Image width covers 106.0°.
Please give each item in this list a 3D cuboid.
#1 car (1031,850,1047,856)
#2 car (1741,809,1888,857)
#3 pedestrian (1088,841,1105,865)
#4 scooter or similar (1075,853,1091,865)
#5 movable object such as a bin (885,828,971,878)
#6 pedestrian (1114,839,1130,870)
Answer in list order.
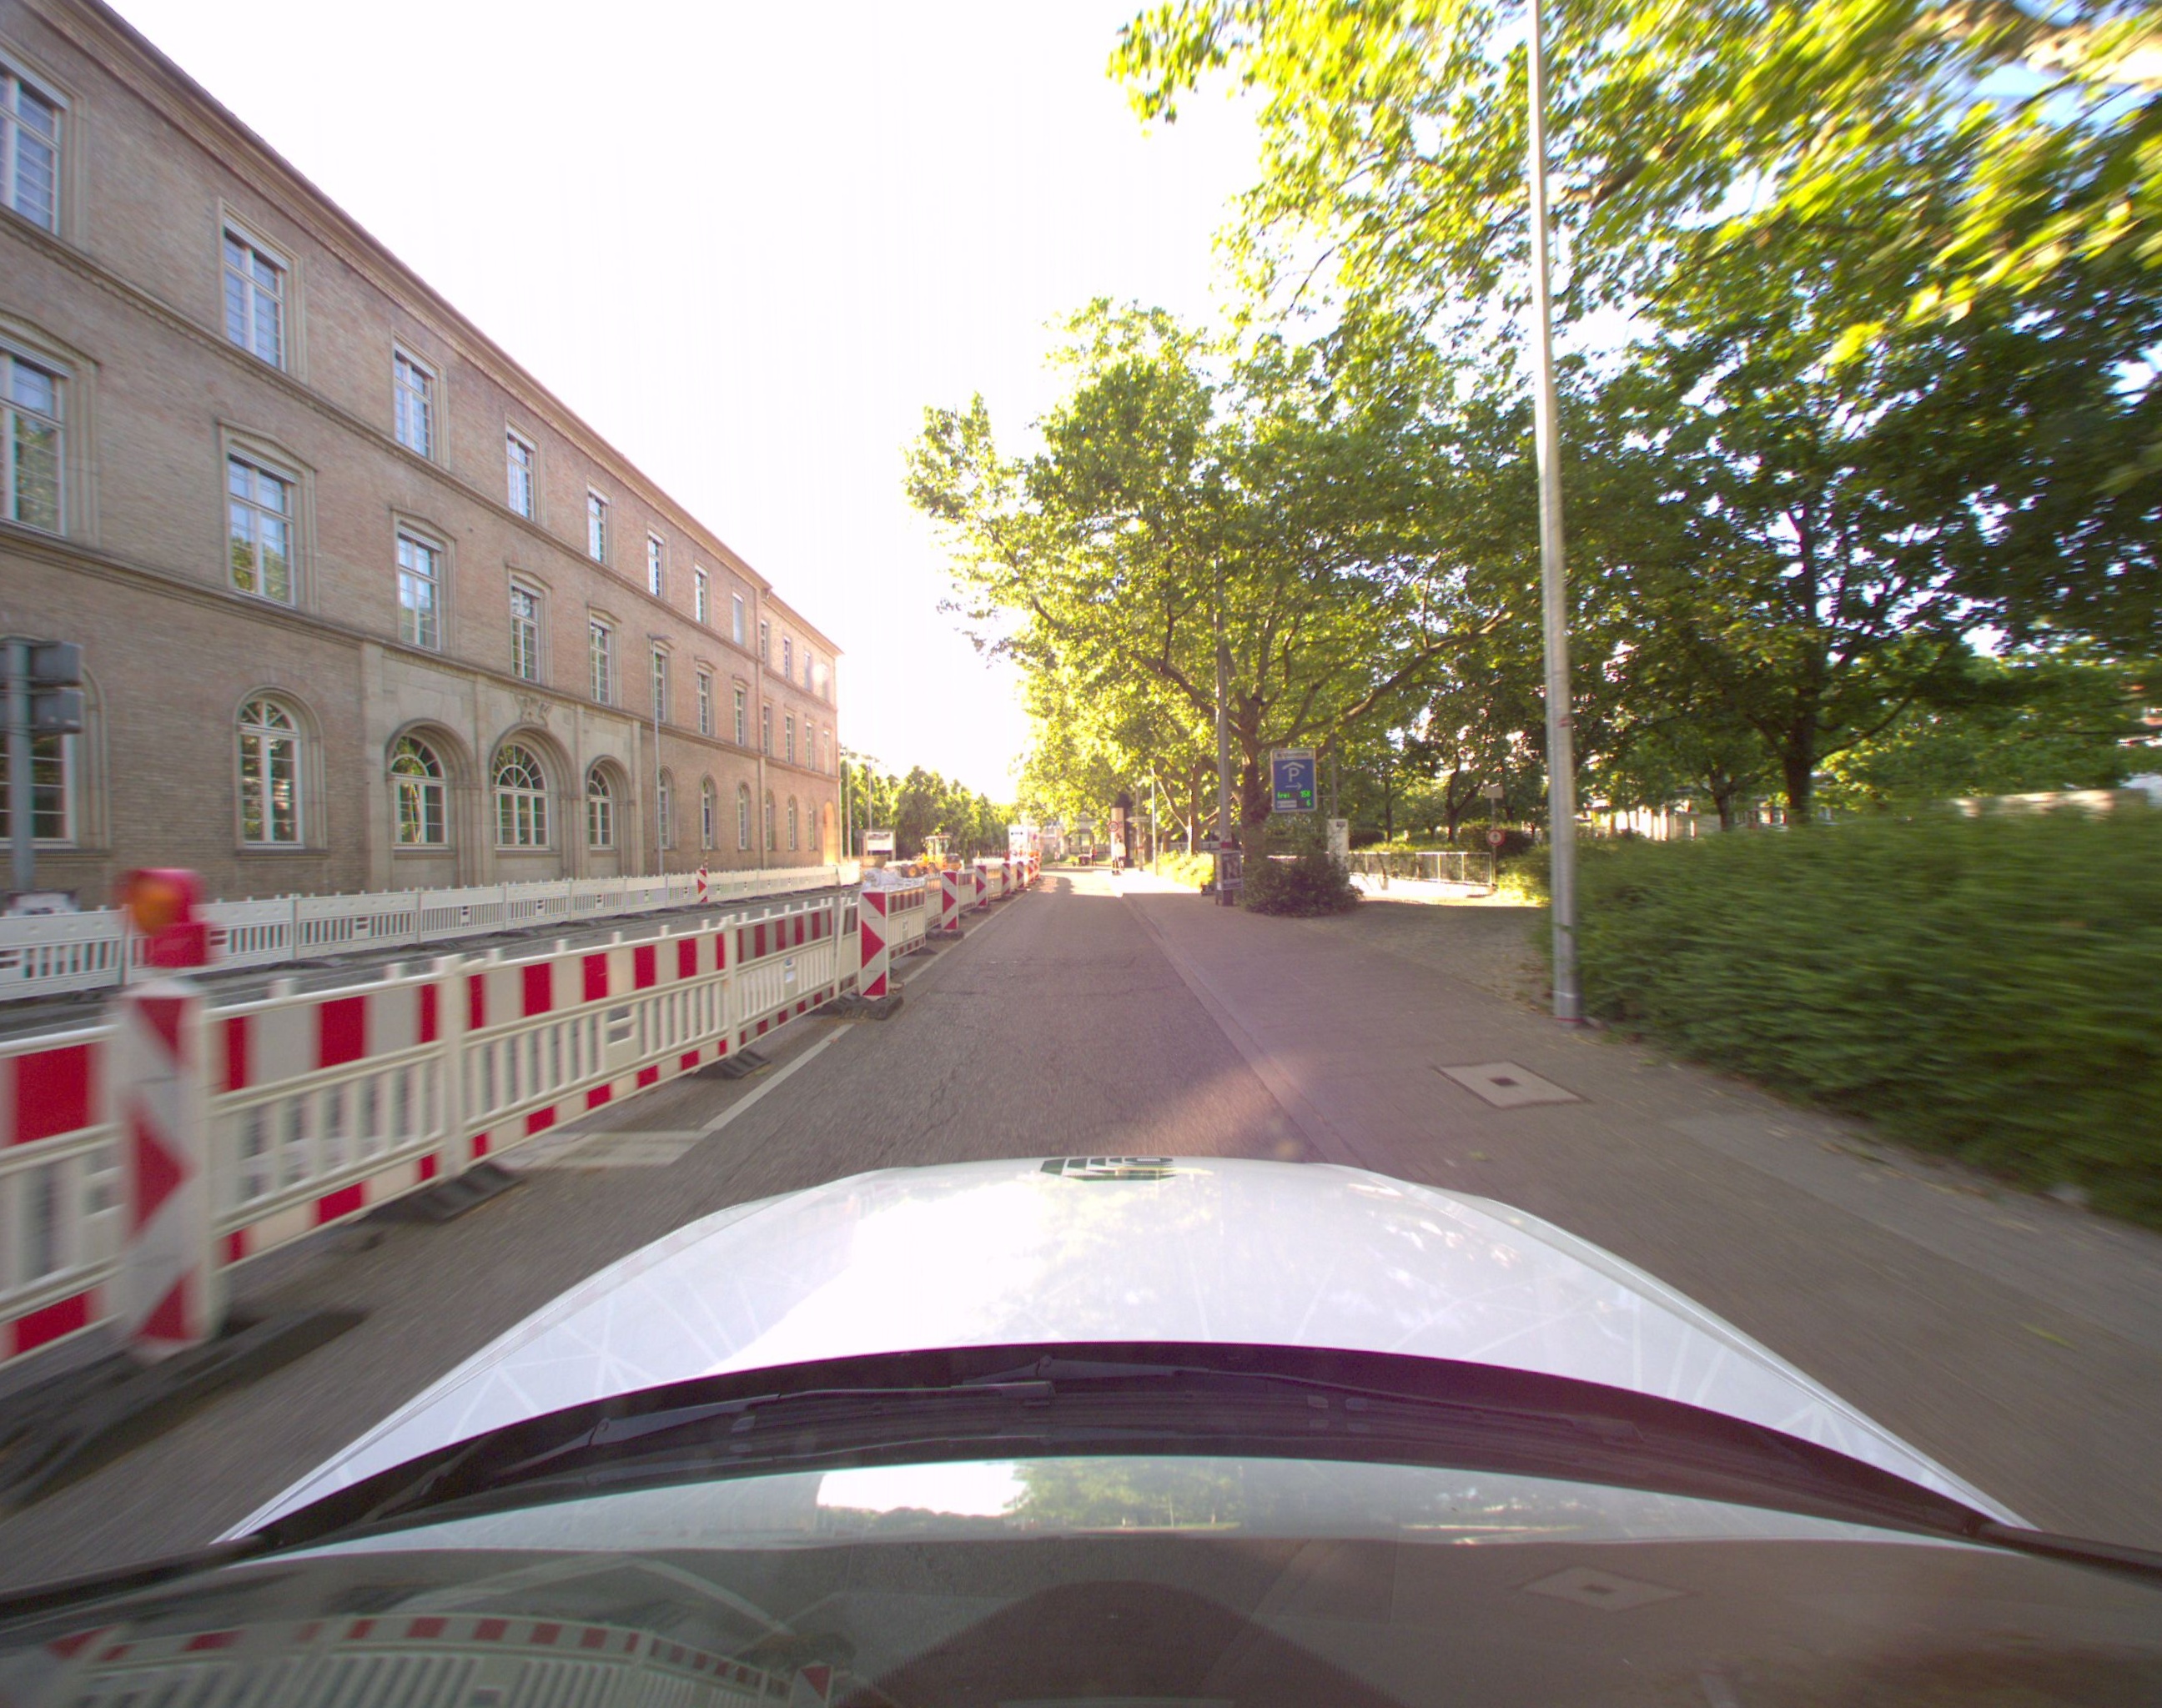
[{"bbox_3d":[-12.868,-0.254,249.600,4.545,1.790,1.999,-1,0,-2],"label":"car"},{"bbox_3d":[27.548,-0.750,30.782,1.755,1.626,3.994,-2,0,-5],"label":"car"},{"bbox_3d":[1.029,-0.049,55.571,0.713,1.623,0.929,-2,-1,-32],"label":"pedestrian"},{"bbox_3d":[0.132,0.391,63.120,1.146,0.914,0.418,-4,-1,-8],"label":"scooter or similar"},{"bbox_3d":[-10.298,-0.033,54.575,5.856,3.031,2.583,-2,1,43],"label":"movable object such as a bin"},{"bbox_3d":[2.428,0.010,47.946,0.743,1.812,1.132,-1,1,-5],"label":"pedestrian"}]
